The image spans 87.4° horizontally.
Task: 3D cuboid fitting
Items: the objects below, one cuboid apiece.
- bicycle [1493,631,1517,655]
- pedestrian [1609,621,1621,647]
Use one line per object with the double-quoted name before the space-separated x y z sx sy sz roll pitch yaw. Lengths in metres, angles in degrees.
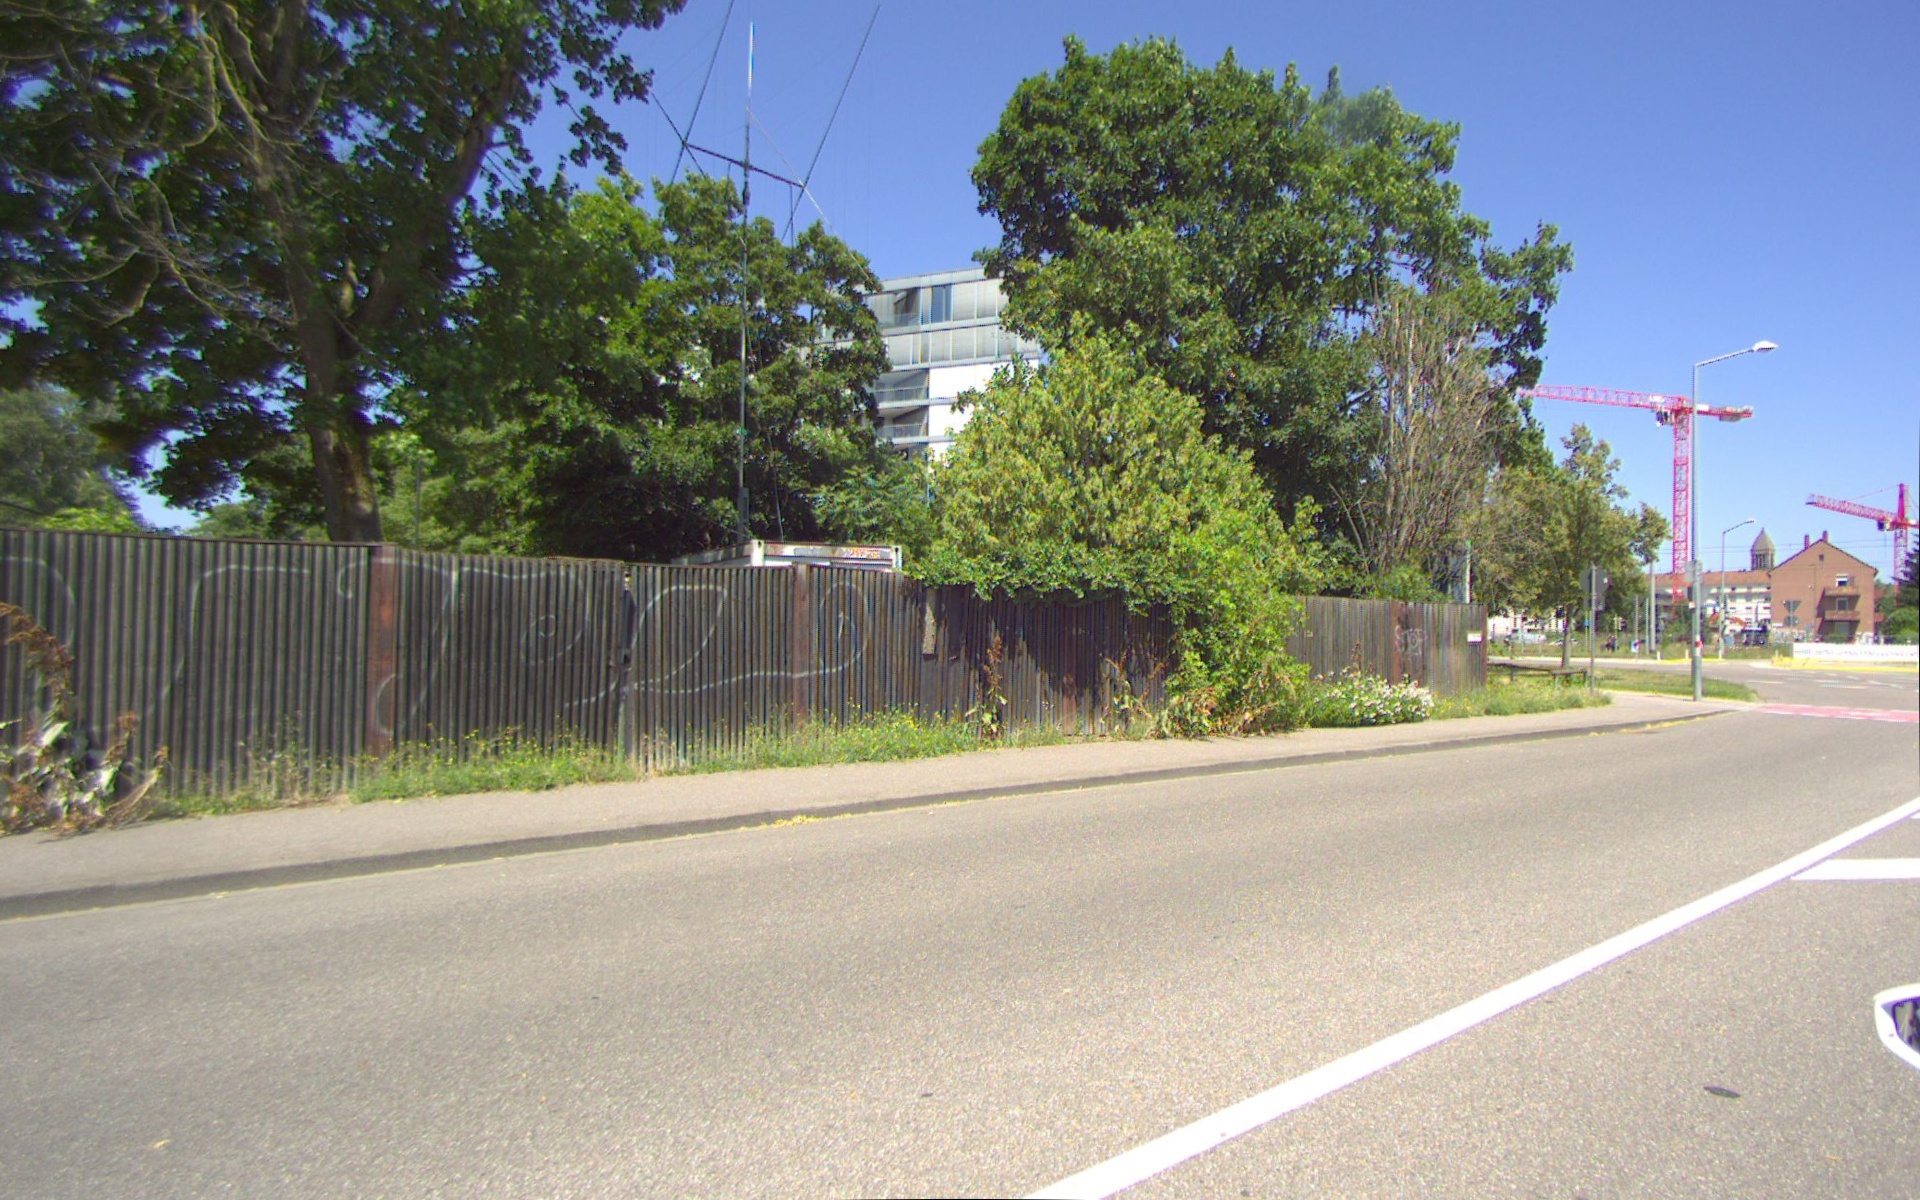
"bicycle" 41.036 3.250 75.628 2.062 1.707 0.555 2 0 -32
"pedestrian" 53.802 2.782 82.468 0.588 2.040 0.598 2 0 -30
